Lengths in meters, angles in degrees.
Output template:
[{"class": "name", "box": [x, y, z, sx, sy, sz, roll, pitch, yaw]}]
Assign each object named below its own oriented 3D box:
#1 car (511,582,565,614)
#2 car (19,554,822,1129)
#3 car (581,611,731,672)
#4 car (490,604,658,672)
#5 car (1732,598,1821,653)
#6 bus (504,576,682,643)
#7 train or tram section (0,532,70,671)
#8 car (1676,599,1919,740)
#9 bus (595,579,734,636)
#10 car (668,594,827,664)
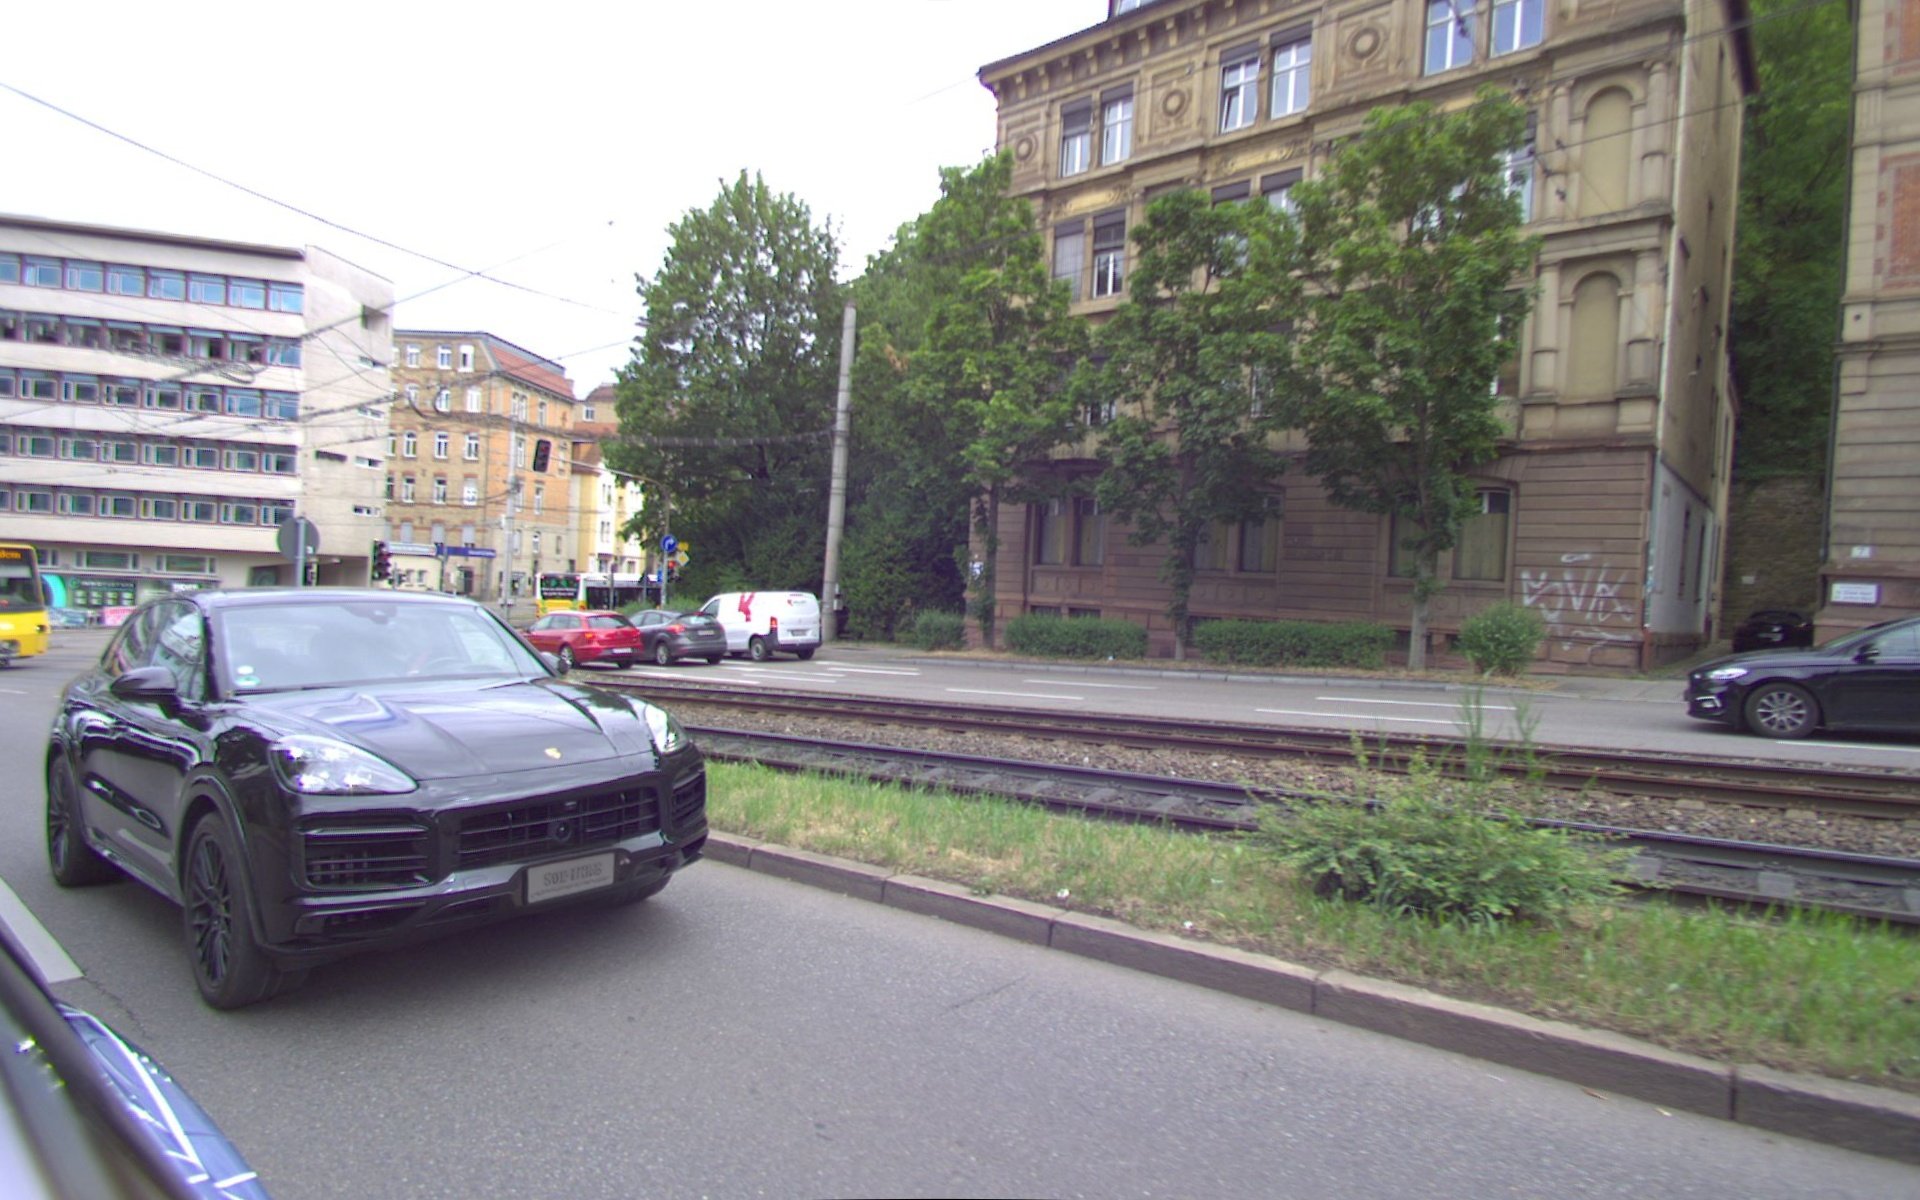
[{"class": "car", "box": [-31.862, -0.125, 76.539, 1.976, 2.028, 3.992, -7, -2, 6]}, {"class": "car", "box": [-3.107, 0.689, 5.291, 4.776, 1.697, 2.007, 1, 0, 39]}, {"class": "car", "box": [-8.181, 1.052, 27.036, 4.402, 1.437, 1.725, 0, 1, 40]}, {"class": "car", "box": [-9.763, 0.912, 25.471, 4.401, 1.530, 1.974, 1, -2, 39]}, {"class": "car", "box": [23.251, 0.713, 28.873, 1.852, 1.464, 3.947, -1, -2, 39]}, {"class": "bus", "box": [-18.543, 0.424, 52.470, 3.353, 3.052, 11.511, -1, 0, 10]}, {"class": "train or tram section", "box": [-32.315, 0.041, 28.993, 14.343, 3.691, 2.877, 0, 1, 16]}, {"class": "car", "box": [10.827, 0.720, 10.883, 4.943, 1.461, 1.800, -2, -2, 41]}, {"class": "bus", "box": [-17.163, 0.386, 60.051, 3.288, 3.066, 11.327, -1, 0, 10]}, {"class": "car", "box": [-6.209, 0.787, 29.220, 4.992, 1.863, 1.972, -1, -1, 42]}]
